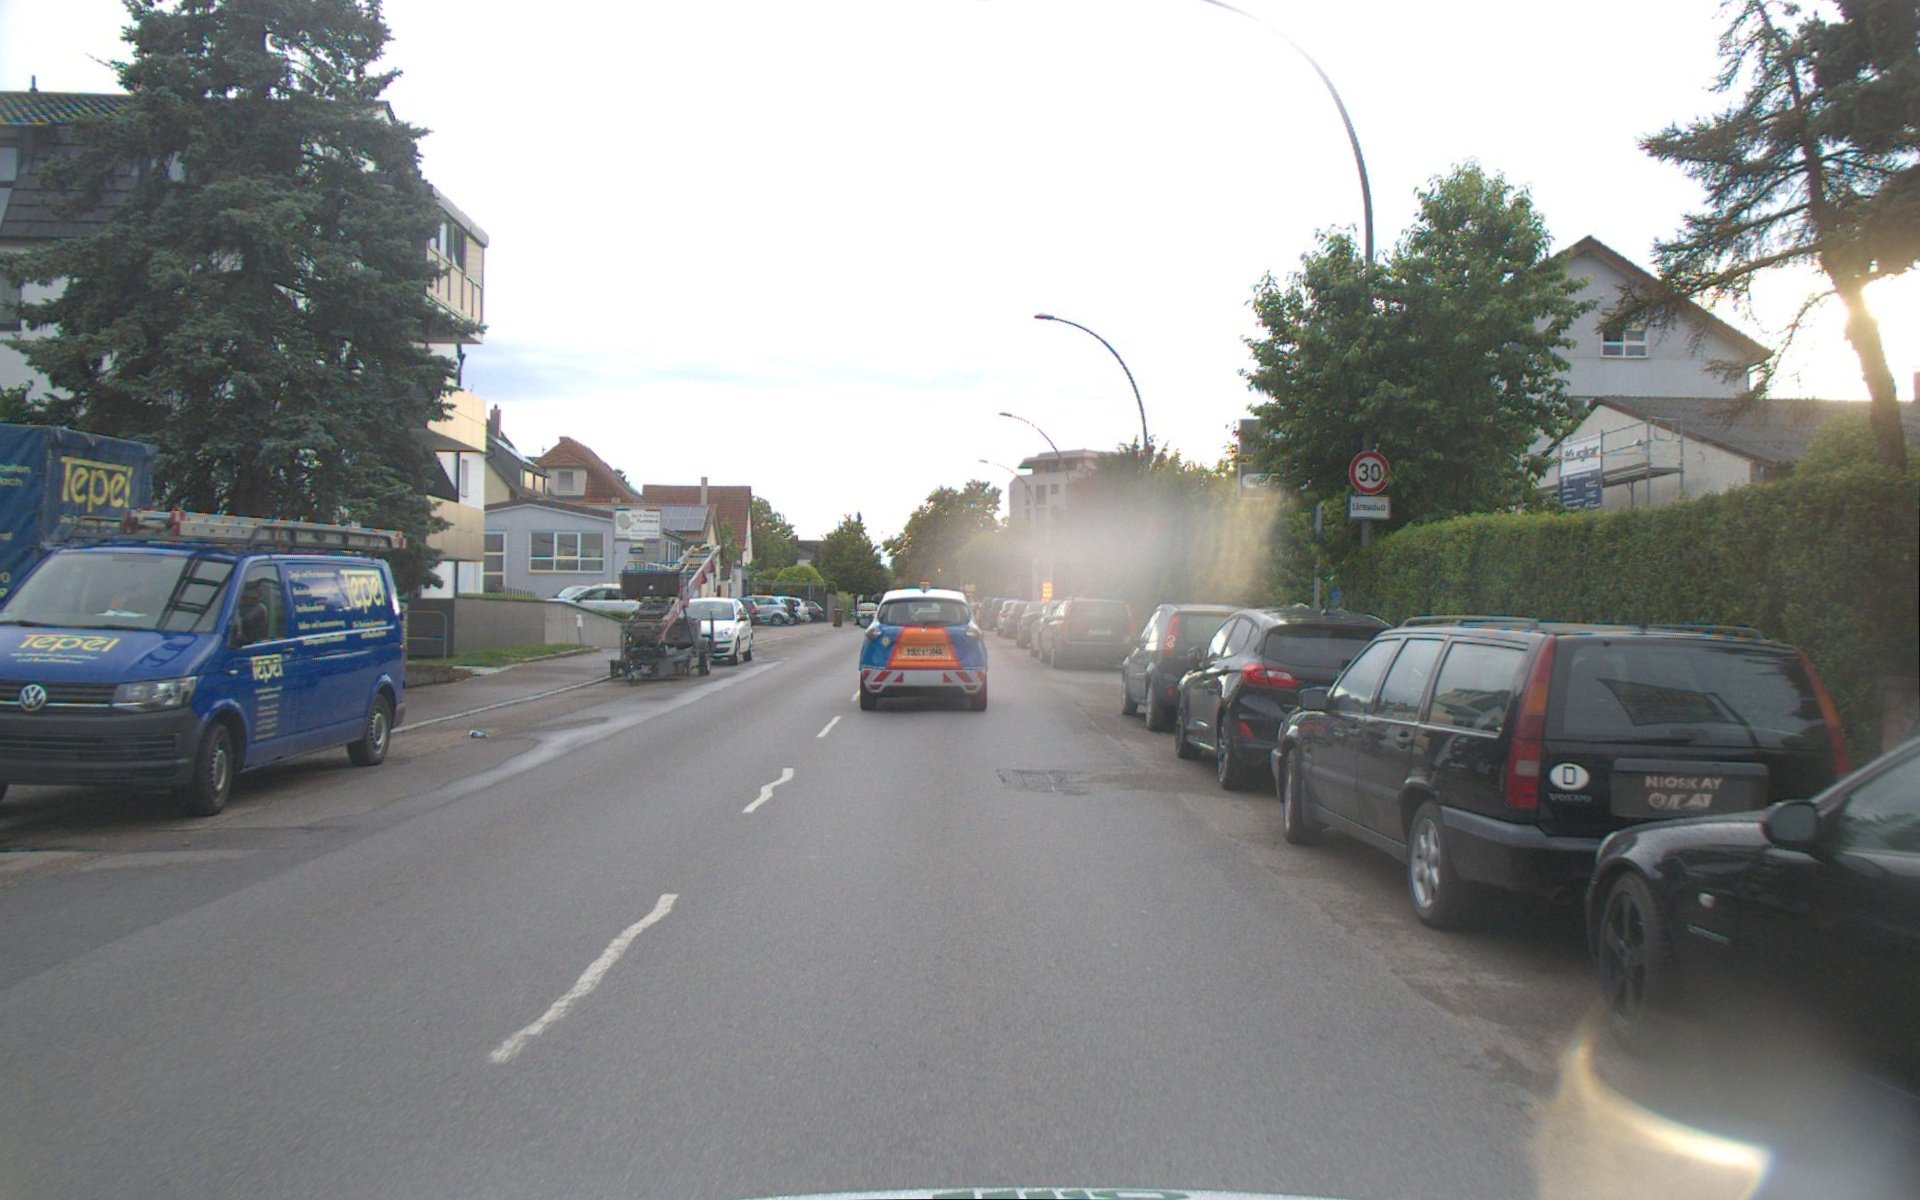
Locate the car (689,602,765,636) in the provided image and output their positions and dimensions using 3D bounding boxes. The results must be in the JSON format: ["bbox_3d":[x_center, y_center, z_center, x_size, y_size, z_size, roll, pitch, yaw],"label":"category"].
[{"bbox_3d":[-11.440,0.919,81.371,3.510,1.553,1.653,2,-1,-5],"label":"car"}]

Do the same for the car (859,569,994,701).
[{"bbox_3d":[-0.464,0.465,22.748,1.696,1.659,3.493,1,-1,-1],"label":"car"}]

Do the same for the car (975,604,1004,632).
[{"bbox_3d":[1.867,1.156,106.700,1.617,1.701,3.998,2,-1,-2],"label":"car"}]

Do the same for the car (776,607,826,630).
[{"bbox_3d":[-10.366,1.229,108.241,3.217,1.473,1.478,0,0,-5],"label":"car"}]

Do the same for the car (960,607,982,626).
[{"bbox_3d":[0.938,1.384,138.619,1.617,1.509,3.998,2,-1,-2],"label":"car"}]

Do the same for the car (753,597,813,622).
[{"bbox_3d":[-10.697,0.578,100.283,3.582,1.509,1.478,0,0,-5],"label":"car"}]

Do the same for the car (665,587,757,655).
[{"bbox_3d":[-5.767,0.493,38.614,1.525,1.458,3.999,2,-1,-1],"label":"car"}]

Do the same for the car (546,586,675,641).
[{"bbox_3d":[-10.960,0.430,52.078,3.684,1.595,1.654,2,-1,-2],"label":"car"}]

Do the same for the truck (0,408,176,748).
[{"bbox_3d":[-11.361,-0.283,16.494,5.791,3.127,2.449,2,-1,0],"label":"truck"}]

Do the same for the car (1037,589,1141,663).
[{"bbox_3d":[2.774,0.553,36.415,1.677,1.464,4.523,2,-1,-3],"label":"car"}]

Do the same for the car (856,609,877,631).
[{"bbox_3d":[-6.618,1.381,117.230,1.358,1.509,3.782,1,0,-2],"label":"car"}]

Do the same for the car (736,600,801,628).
[{"bbox_3d":[-11.132,0.828,96.324,3.686,1.509,1.653,2,-1,-5],"label":"car"}]

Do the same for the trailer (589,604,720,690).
[{"bbox_3d":[-5.677,0.817,31.305,1.683,1.282,5.242,2,1,-2],"label":"trailer"}]

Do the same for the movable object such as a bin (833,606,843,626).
[{"bbox_3d":[-7.520,1.010,102.297,0.568,1.225,0.318,2,-1,-1],"label":"movable object such as a bin"}]

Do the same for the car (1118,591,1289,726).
[{"bbox_3d":[2.913,0.662,20.455,1.456,1.464,3.806,2,0,-1],"label":"car"}]

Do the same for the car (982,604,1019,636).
[{"bbox_3d":[2.056,1.015,84.931,1.617,1.548,3.998,2,-1,-2],"label":"car"}]

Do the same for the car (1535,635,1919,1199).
[{"bbox_3d":[3.156,0.863,4.518,1.558,1.364,4.091,3,0,-2],"label":"car"}]

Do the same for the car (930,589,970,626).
[{"bbox_3d":[-0.480,0.335,74.168,1.617,1.548,3.998,2,-1,-2],"label":"car"}]

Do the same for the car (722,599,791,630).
[{"bbox_3d":[-11.315,0.810,91.959,3.686,1.604,1.653,2,-1,-5],"label":"car"}]

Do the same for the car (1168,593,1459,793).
[{"bbox_3d":[2.946,0.702,14.554,1.624,1.474,3.828,2,0,-1],"label":"car"}]

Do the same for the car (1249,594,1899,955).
[{"bbox_3d":[2.962,0.745,9.212,1.623,1.444,4.774,2,-1,-3],"label":"car"}]

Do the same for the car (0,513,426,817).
[{"bbox_3d":[-6.187,0.410,13.540,1.953,1.981,5.364,1,0,-1],"label":"car"}]
